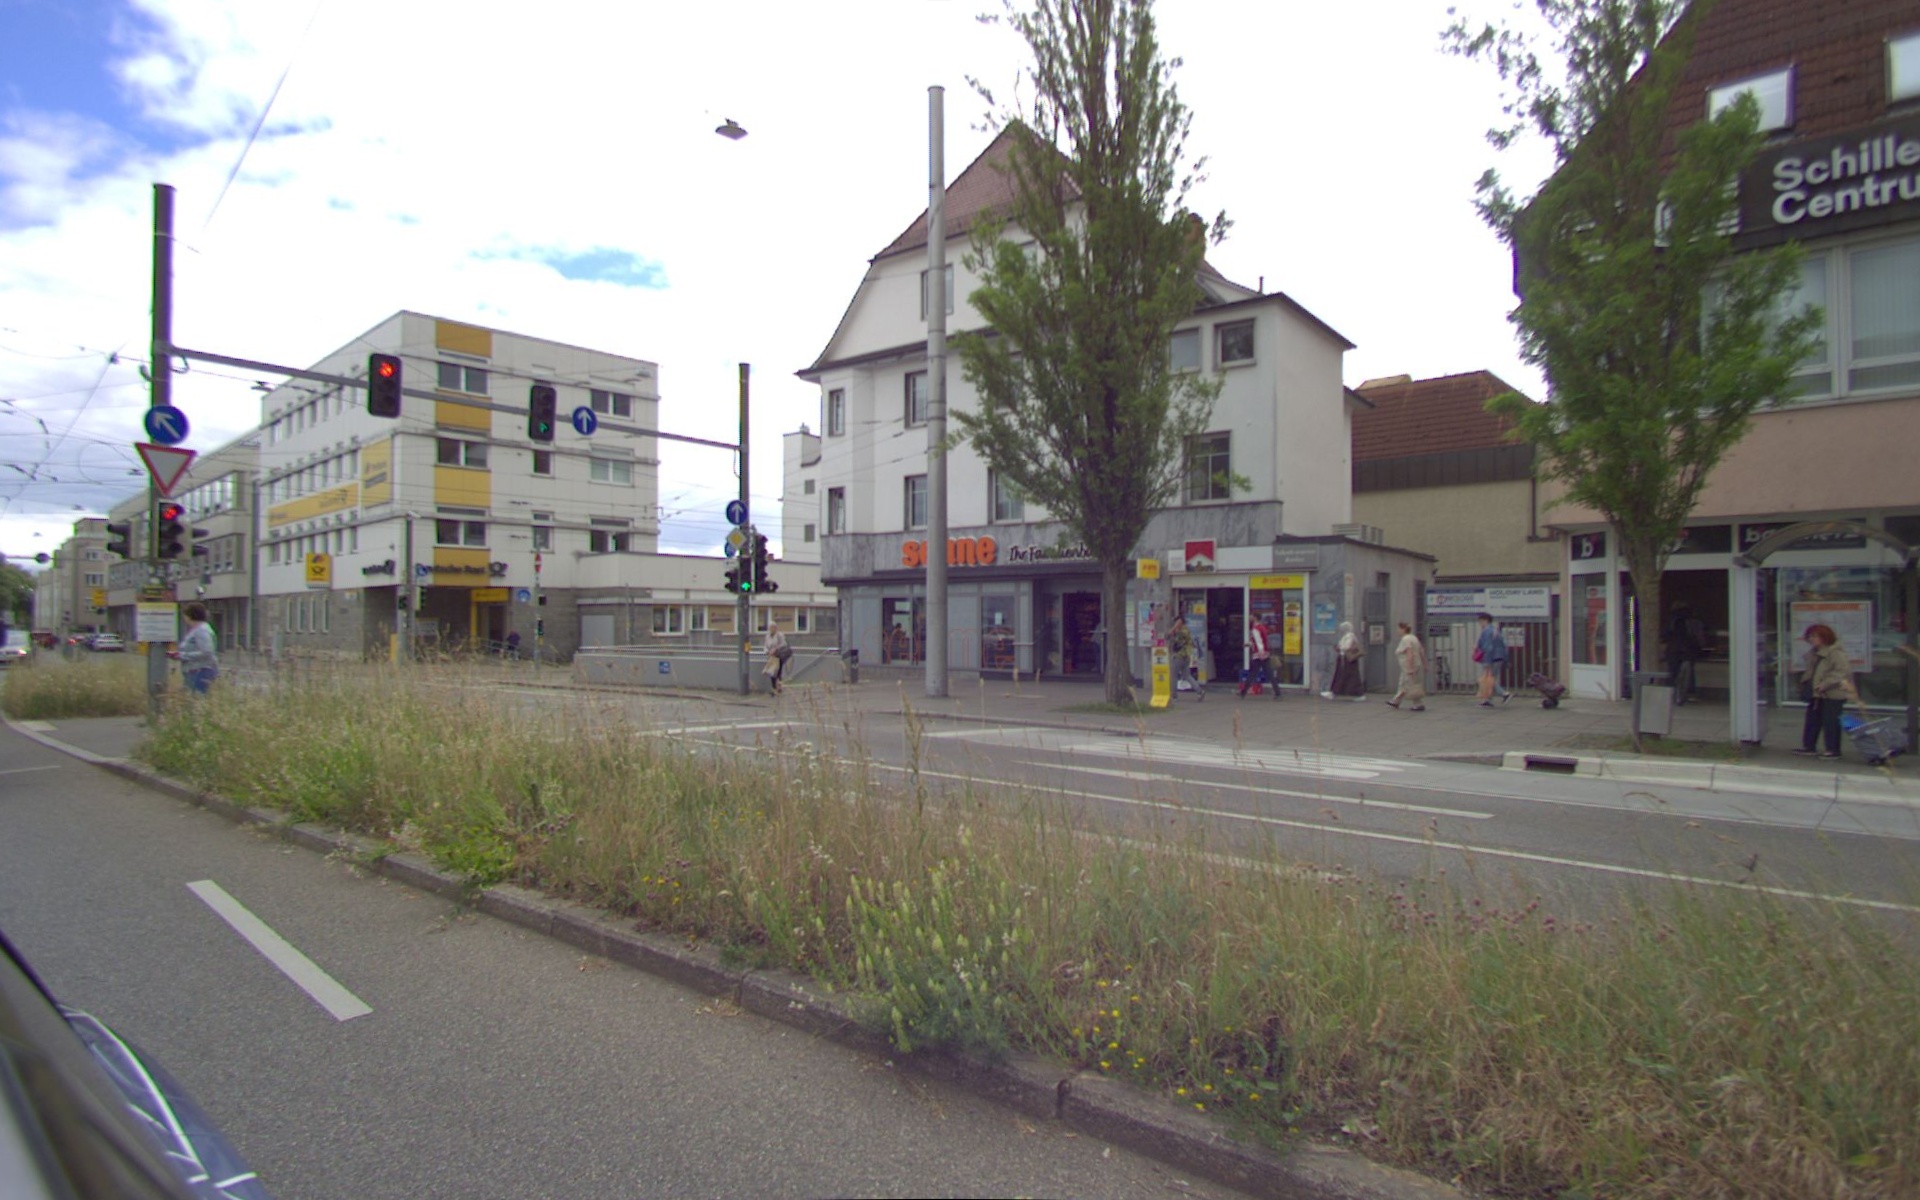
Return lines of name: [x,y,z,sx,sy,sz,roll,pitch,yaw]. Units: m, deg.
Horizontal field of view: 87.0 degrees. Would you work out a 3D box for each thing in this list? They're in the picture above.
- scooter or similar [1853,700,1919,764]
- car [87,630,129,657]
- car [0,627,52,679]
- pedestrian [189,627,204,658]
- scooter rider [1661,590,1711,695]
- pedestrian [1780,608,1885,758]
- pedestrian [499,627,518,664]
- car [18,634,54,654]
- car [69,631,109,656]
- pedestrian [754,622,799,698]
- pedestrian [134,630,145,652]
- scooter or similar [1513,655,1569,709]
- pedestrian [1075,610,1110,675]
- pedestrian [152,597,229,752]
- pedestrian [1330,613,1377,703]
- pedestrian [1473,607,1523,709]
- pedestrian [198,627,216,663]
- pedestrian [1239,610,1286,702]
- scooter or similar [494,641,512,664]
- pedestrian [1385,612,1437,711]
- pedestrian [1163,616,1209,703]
scooter or similar: [10.096,1.418,10.899,0.702,0.606,0.585,-2,-2,43]
car: [-68.624,3.486,81.489,4.484,2.029,1.973,-2,-2,41]
car: [-39.269,2.182,42.278,1.969,2.029,4.491,0,-2,-42]
pedestrian: [-47.240,2.627,62.627,0.526,1.816,0.580,-2,0,43]
scooter rider: [12.382,0.711,17.259,0.587,1.725,0.607,-2,0,40]
pedestrian: [10.009,0.933,11.635,0.710,1.665,0.583,-2,-2,25]
pedestrian: [-19.996,2.012,44.853,0.615,1.647,0.579,-2,-3,43]
car: [-82.725,3.945,90.614,4.694,1.752,2.045,-2,-4,44]
car: [-73.464,3.635,85.369,4.484,2.029,1.973,-2,-2,41]
pedestrian: [-4.161,1.351,22.979,0.613,1.646,0.694,-3,0,32]
pedestrian: [-71.021,3.543,87.601,0.526,1.816,0.580,-2,0,43]
scooter or similar: [9.849,1.378,17.151,0.702,0.855,0.585,-2,-2,43]
pedestrian: [3.462,1.113,26.429,0.587,1.646,0.607,-2,0,41]
pedestrian: [-8.512,0.809,11.198,0.662,1.647,0.498,-2,-2,37]
pedestrian: [7.509,1.093,19.314,0.615,1.646,0.580,-2,0,41]
pedestrian: [9.329,0.993,17.544,0.615,1.725,0.580,-3,-3,41]
pedestrian: [-39.318,2.352,52.852,0.526,1.816,0.580,-2,0,43]
pedestrian: [5.887,1.081,19.706,0.615,1.725,0.580,-2,0,41]
scooter or similar: [-20.451,2.351,45.271,0.617,0.984,0.501,-2,-2,41]
pedestrian: [7.767,1.050,17.440,0.615,1.646,0.580,-2,0,41]
pedestrian: [4.444,1.155,19.933,0.615,1.646,0.580,-2,0,41]
